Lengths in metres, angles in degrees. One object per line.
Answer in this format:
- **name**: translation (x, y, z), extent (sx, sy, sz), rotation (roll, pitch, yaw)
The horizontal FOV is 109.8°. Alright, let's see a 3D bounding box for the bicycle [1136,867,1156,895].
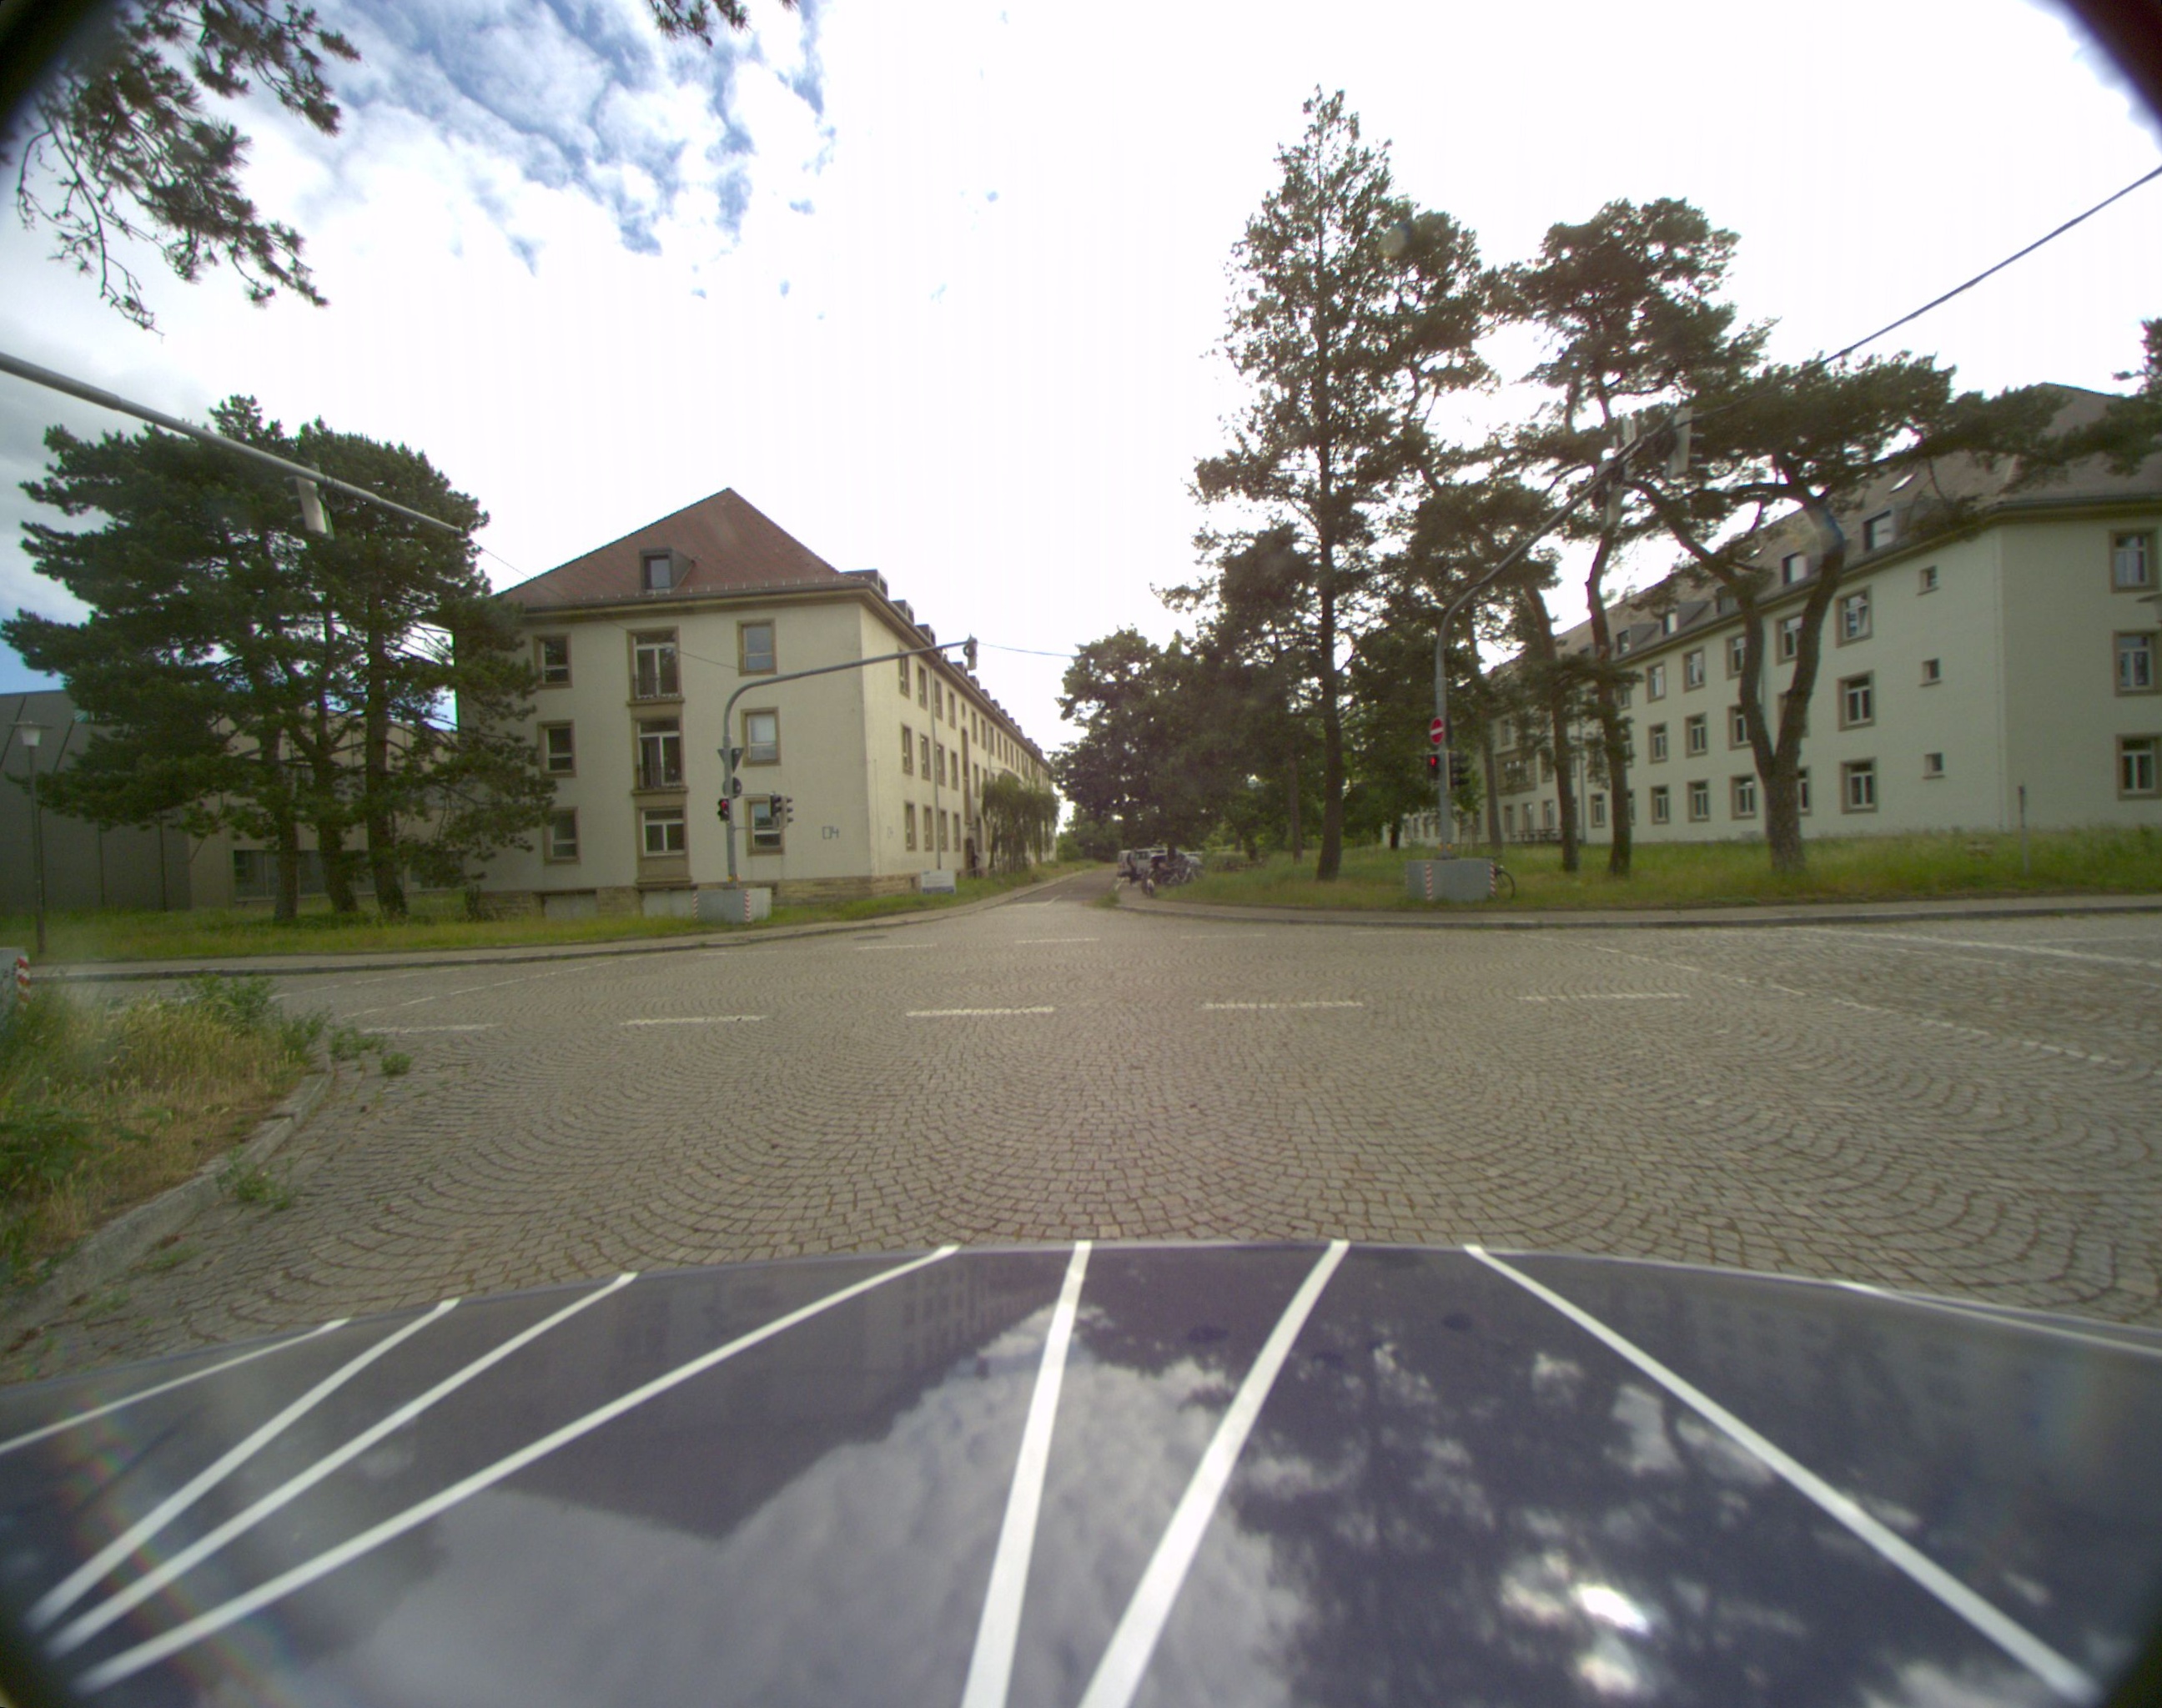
- **bicycle**: translation (2.427, 0.993, 28.234), extent (0.459, 0.968, 1.664), rotation (-2, 0, 13)

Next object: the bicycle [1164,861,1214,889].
- **bicycle**: translation (4.463, 0.873, 31.422), extent (1.950, 1.059, 0.563), rotation (-2, 1, 3)

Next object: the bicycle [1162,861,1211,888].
- **bicycle**: translation (4.413, 0.866, 31.912), extent (1.950, 1.059, 0.563), rotation (-2, 1, 3)

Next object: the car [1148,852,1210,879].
- **car**: translation (5.703, 0.662, 44.431), extent (3.439, 1.440, 1.914), rotation (-2, 0, 3)

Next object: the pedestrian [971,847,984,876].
- **pedestrian**: translation (-6.273, 0.446, 45.959), extent (0.568, 1.691, 0.532), rotation (-2, 1, 8)

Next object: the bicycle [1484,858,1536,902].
- **bicycle**: translation (9.413, 0.558, 16.684), extent (0.293, 0.911, 1.052), rotation (-3, 0, -17)

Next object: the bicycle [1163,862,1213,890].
- **bicycle**: translation (4.331, 0.889, 30.782), extent (1.950, 1.059, 0.563), rotation (-2, 1, 3)

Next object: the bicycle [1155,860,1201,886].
- **bicycle**: translation (4.292, 0.837, 33.594), extent (1.950, 1.059, 0.563), rotation (-2, 1, 3)

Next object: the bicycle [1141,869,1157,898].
- **bicycle**: translation (2.377, 1.010, 26.410), extent (0.459, 0.903, 1.663), rotation (-2, 0, 8)

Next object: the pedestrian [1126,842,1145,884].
- **pedestrian**: translation (2.553, 0.404, 35.370), extent (0.793, 1.926, 0.588), rotation (-2, 1, 5)

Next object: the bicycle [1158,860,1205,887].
- **bicycle**: translation (4.355, 0.844, 33.041), extent (1.950, 1.059, 0.563), rotation (-2, 1, 3)

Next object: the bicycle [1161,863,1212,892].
- **bicycle**: translation (4.115, 0.916, 29.711), extent (1.898, 1.059, 0.616), rotation (-2, 1, 3)

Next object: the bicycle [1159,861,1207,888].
- **bicycle**: translation (4.339, 0.854, 32.501), extent (1.950, 1.059, 0.563), rotation (-2, 1, 3)

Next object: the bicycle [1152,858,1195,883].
- **bicycle**: translation (4.395, 0.787, 36.306), extent (1.950, 1.059, 0.563), rotation (-2, 1, 3)

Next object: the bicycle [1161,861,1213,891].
- **bicycle**: translation (4.210, 0.879, 30.261), extent (1.950, 1.104, 0.563), rotation (-2, 1, 3)

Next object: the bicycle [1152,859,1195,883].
- **bicycle**: translation (4.344, 0.800, 35.708), extent (1.950, 1.059, 0.563), rotation (-2, 1, 3)

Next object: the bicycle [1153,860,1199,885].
- **bicycle**: translation (4.276, 0.826, 34.305), extent (1.950, 1.059, 0.563), rotation (-2, 1, 3)

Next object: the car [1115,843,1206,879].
- **car**: translation (4.993, 0.423, 48.128), extent (5.364, 1.987, 2.290), rotation (-2, 0, -4)

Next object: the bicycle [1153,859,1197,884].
- **bicycle**: translation (4.340, 0.811, 35.030), extent (1.950, 1.059, 0.563), rotation (-2, 1, 3)
